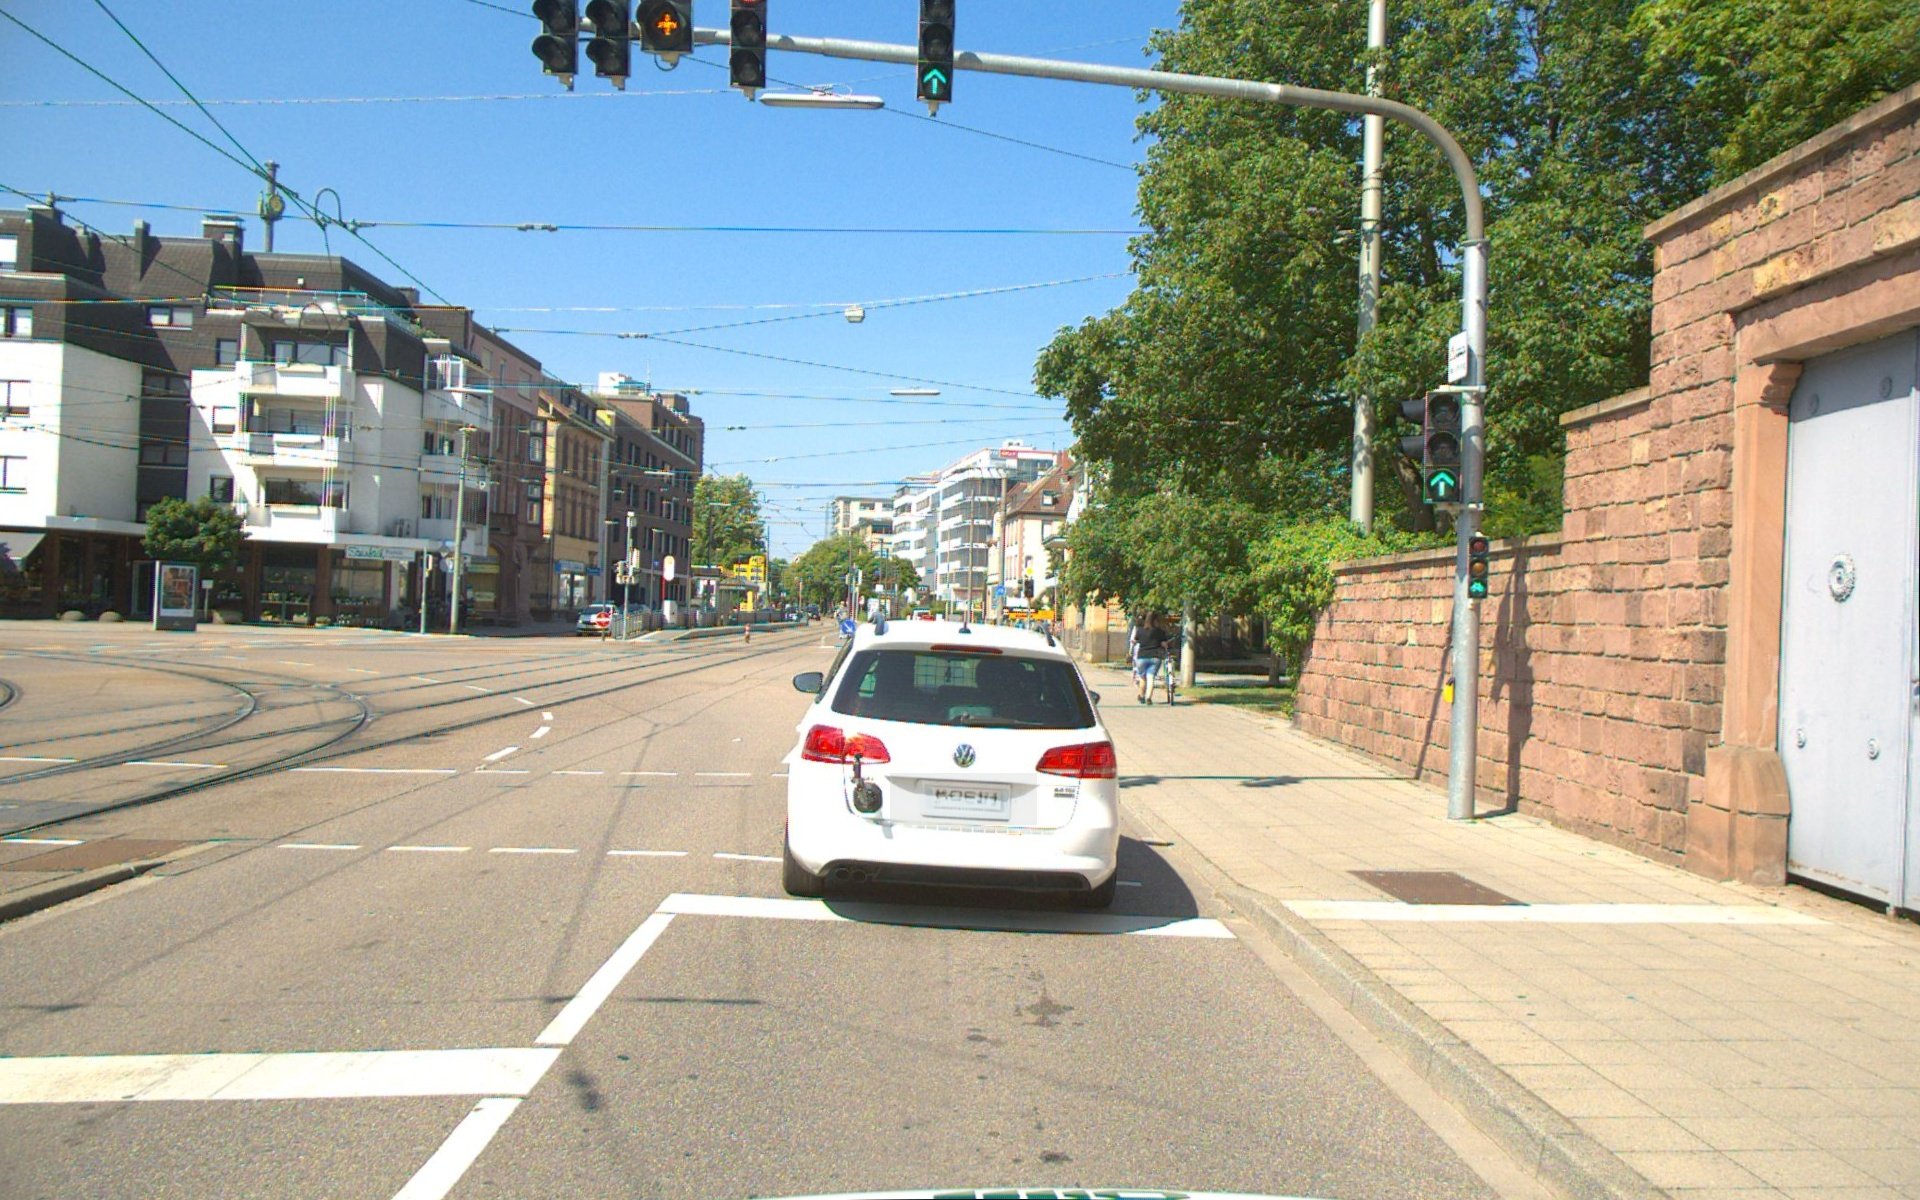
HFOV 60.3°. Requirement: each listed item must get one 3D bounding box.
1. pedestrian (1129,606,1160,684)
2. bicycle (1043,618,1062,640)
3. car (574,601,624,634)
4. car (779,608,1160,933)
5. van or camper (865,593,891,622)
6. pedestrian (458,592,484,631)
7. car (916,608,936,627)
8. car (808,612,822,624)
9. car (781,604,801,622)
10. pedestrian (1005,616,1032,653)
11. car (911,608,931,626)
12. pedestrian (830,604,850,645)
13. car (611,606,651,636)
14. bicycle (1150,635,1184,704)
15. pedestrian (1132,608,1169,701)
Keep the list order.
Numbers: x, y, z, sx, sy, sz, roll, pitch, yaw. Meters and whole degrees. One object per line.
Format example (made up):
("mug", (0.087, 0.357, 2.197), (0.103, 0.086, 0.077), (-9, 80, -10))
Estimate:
("pedestrian", (4.121, 1.008, 36.981), (0.636, 1.711, 0.708), (2, -1, 6))
("bicycle", (4.931, 1.534, 87.929), (0.710, 1.159, 2.196), (2, -1, 11))
("car", (-16.976, 0.836, 77.973), (1.593, 1.456, 3.960), (3, -1, -3))
("car", (0.022, 0.802, 9.535), (1.717, 1.442, 3.852), (2, -1, -1))
("van or camper", (-9.555, 0.846, 192.457), (2.885, 3.235, 6.609), (2, 0, -3))
("pedestrian", (-21.946, 0.517, 74.240), (0.864, 1.676, 0.677), (1, -1, 39))
("car", (-3.879, 2.010, 190.192), (1.955, 2.049, 3.995), (2, 0, -5))
("car", (-19.180, 2.333, 219.054), (1.634, 1.492, 3.772), (2, 0, -1))
("car", (-19.022, 1.472, 186.251), (1.954, 2.049, 3.997), (1, -1, -3))
("pedestrian", (2.479, 1.481, 70.584), (0.840, 1.536, 0.779), (1, -1, 32))
("car", (-4.627, 2.045, 195.597), (1.955, 2.049, 3.995), (2, 0, -5))
("pedestrian", (-5.496, 1.128, 75.960), (0.810, 1.841, 0.833), (2, -1, -1))
("car", (-17.009, 1.057, 85.723), (1.542, 1.484, 3.810), (2, -1, -4))
("bicycle", (3.523, 1.157, 28.066), (0.524, 1.131, 1.808), (1, -1, 8))
("pedestrian", (3.256, 0.925, 28.313), (0.529, 1.576, 0.663), (0, -1, -2))
